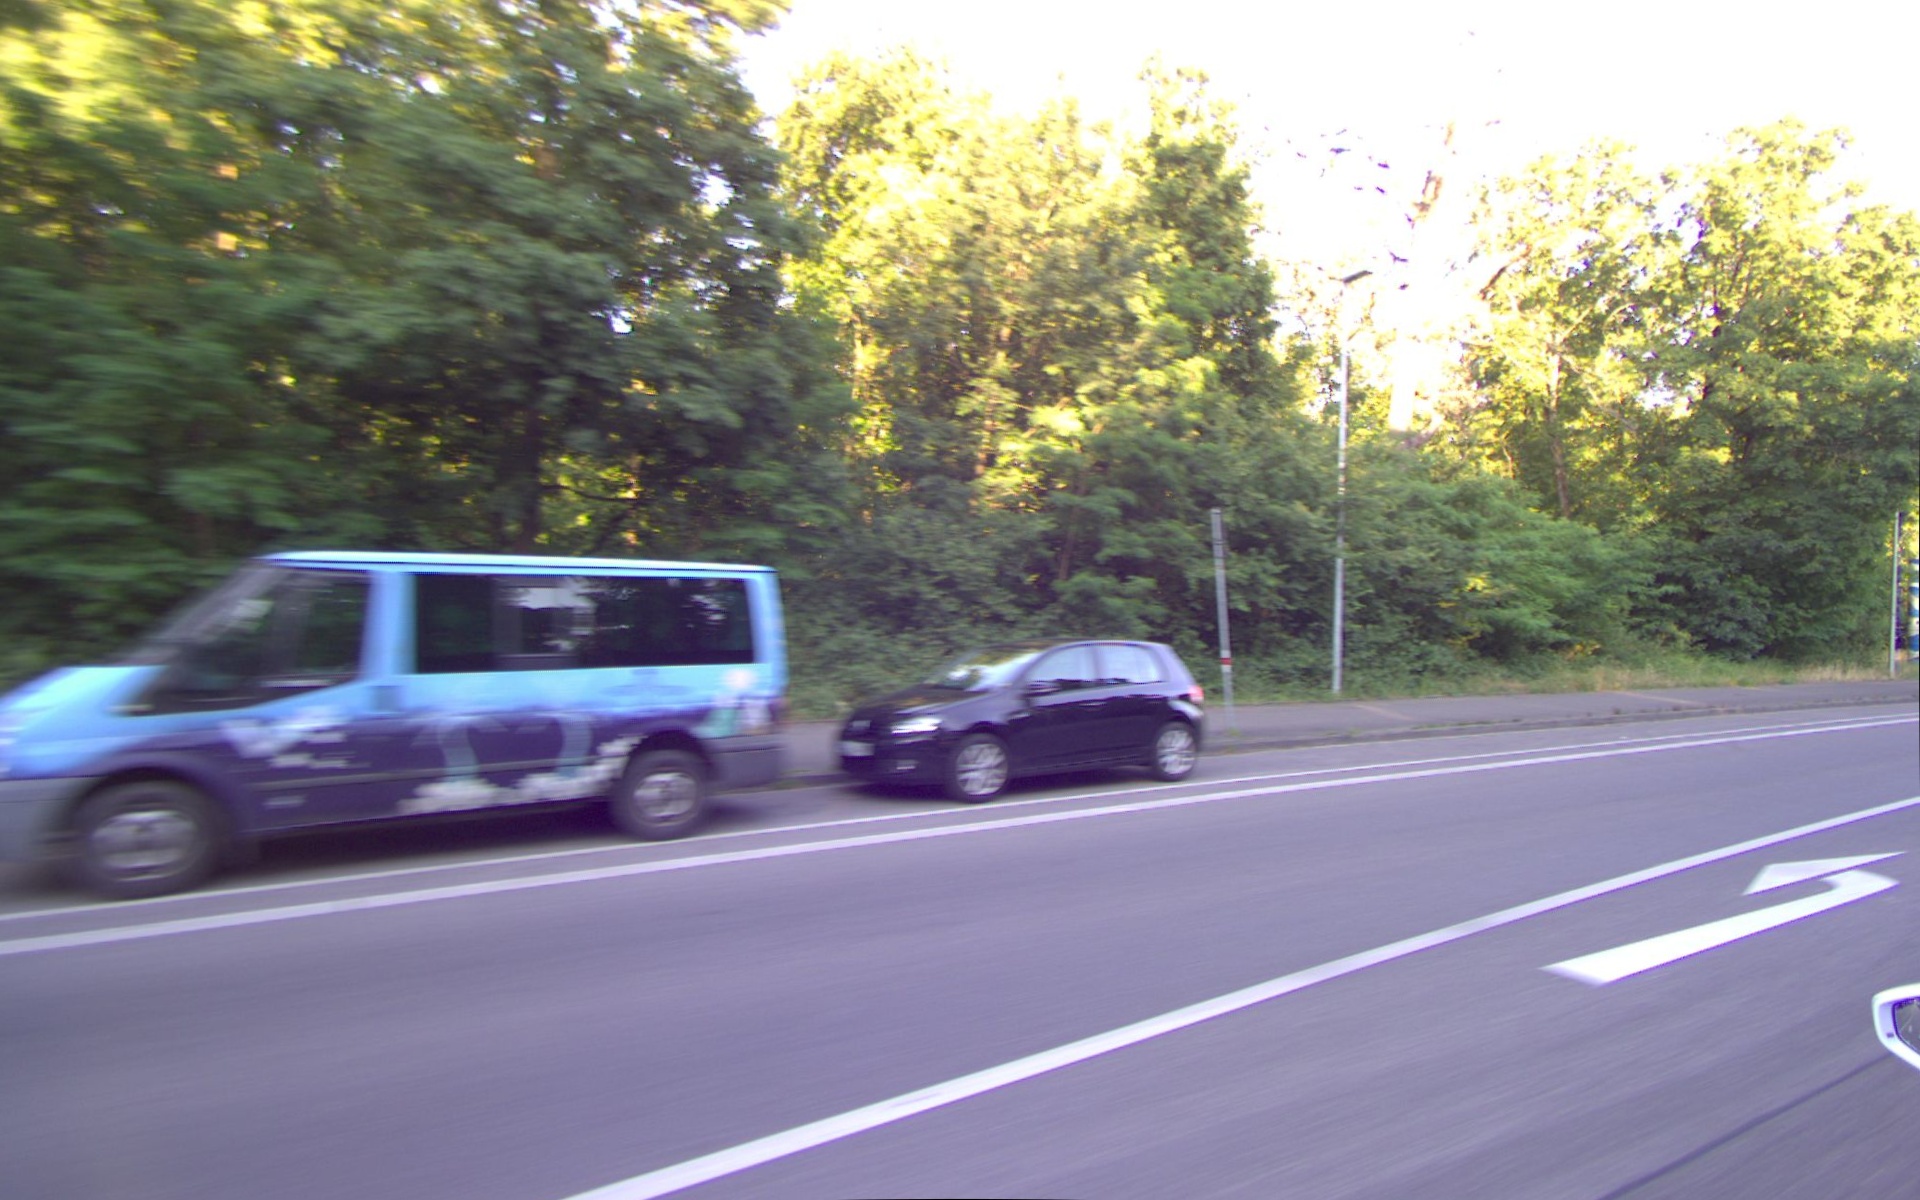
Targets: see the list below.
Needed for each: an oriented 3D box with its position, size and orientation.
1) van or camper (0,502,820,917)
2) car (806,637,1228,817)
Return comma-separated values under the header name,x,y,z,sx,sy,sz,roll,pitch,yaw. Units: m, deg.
name,x,y,z,sx,sy,sz,roll,pitch,yaw
van or camper,-3.687,0.650,7.201,4.962,2.121,2.019,2,-3,-34
car,0.697,1.139,10.247,4.202,1.481,1.676,2,-3,-36
